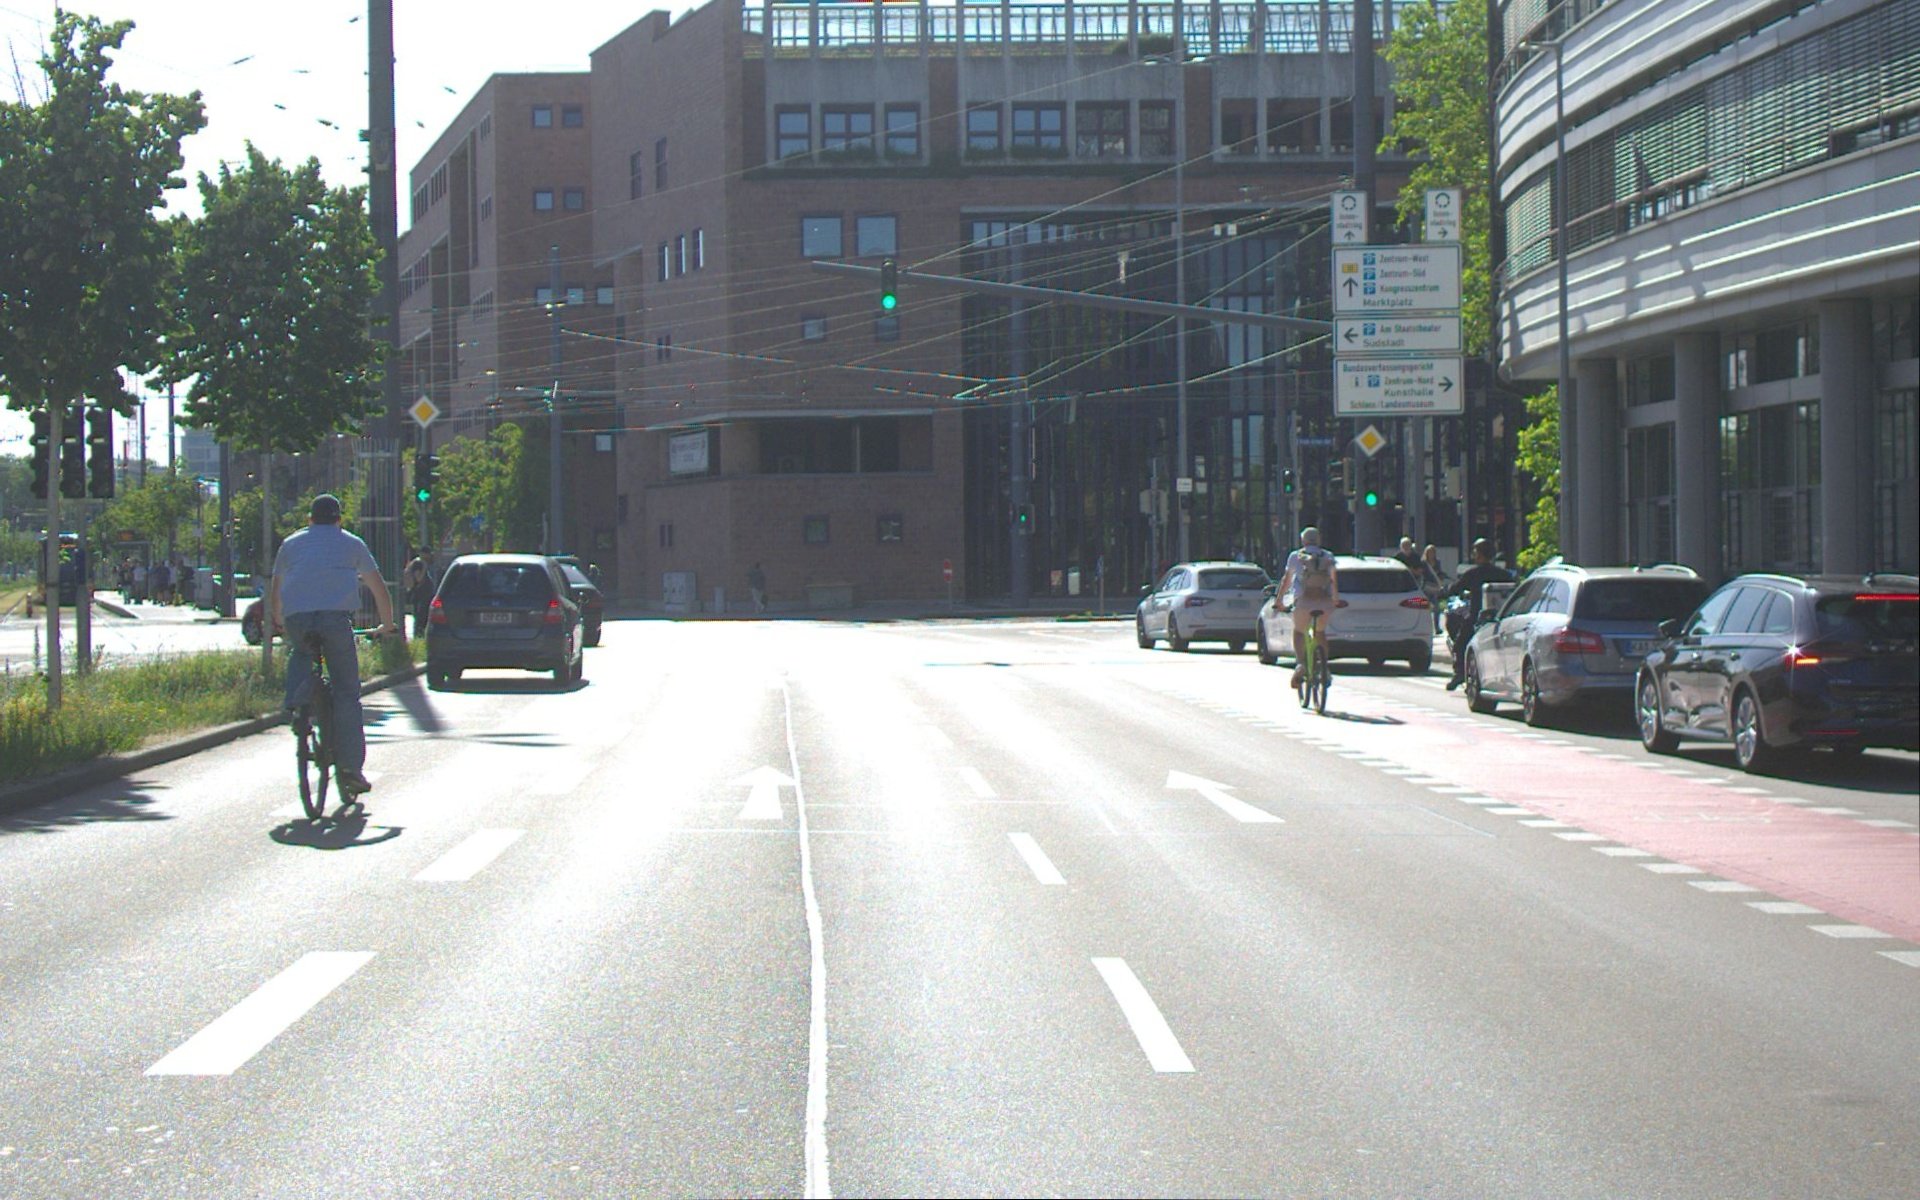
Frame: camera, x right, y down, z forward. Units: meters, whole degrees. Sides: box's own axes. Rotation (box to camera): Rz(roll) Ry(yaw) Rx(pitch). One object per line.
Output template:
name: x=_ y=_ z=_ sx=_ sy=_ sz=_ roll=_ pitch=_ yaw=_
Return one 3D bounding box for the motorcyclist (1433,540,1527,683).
motorcyclist: x=5.765 y=0.127 z=38.158 sx=0.829 sy=1.556 sz=0.942 roll=0 pitch=0 yaw=-4

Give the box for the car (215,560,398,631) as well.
car: x=-13.667 y=-0.094 z=71.875 sx=3.580 sy=1.444 sz=1.656 roll=0 pitch=1 yaw=33

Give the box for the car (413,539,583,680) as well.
car: x=-5.401 y=0.089 z=40.542 sx=1.726 sy=1.558 sz=3.678 roll=-1 pitch=1 yaw=-4

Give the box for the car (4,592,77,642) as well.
car: x=-33.068 y=0.590 z=123.604 sx=2.261 sy=1.721 sz=3.945 roll=-1 pitch=1 yaw=-19

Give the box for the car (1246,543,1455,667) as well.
car: x=5.299 y=0.028 z=47.154 sx=1.905 sy=1.578 sz=4.139 roll=1 pitch=1 yaw=-7

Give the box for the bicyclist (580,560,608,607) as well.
bicyclist: x=-10.502 y=-0.472 z=98.666 sx=0.592 sy=1.331 sz=0.933 roll=-1 pitch=0 yaw=-18

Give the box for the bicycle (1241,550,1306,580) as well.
bicycle: x=8.776 y=-0.968 z=96.177 sx=1.668 sy=0.803 sz=0.673 roll=-1 pitch=0 yaw=-14

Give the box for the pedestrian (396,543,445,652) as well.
pedestrian: x=-8.760 y=-0.039 z=55.797 sx=0.669 sy=1.747 sz=0.769 roll=-1 pitch=1 yaw=-16

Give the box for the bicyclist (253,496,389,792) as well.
bicyclist: x=-3.698 y=0.243 z=19.941 sx=0.617 sy=1.664 sz=1.020 roll=1 pitch=1 yaw=-3

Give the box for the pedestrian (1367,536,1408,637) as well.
pedestrian: x=7.791 y=-0.251 z=62.682 sx=0.638 sy=1.792 sz=0.608 roll=-2 pitch=2 yaw=11

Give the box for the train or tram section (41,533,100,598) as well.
train or tram section: x=-43.262 y=-1.682 z=167.421 sx=2.326 sy=2.993 sz=13.164 roll=-1 pitch=1 yaw=-13

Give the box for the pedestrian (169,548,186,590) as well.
pedestrian: x=-30.773 y=-1.212 z=135.209 sx=0.538 sy=1.649 sz=0.707 roll=-1 pitch=0 yaw=-18

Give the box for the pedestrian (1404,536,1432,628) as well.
pedestrian: x=8.345 y=-0.331 z=62.609 sx=0.427 sy=1.640 sz=0.562 roll=-2 pitch=2 yaw=10

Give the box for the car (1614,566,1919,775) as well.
car: x=6.409 y=0.463 z=25.988 sx=1.721 sy=1.417 sz=4.638 roll=0 pitch=1 yaw=-4

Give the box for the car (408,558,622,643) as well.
car: x=-8.055 y=0.004 z=61.962 sx=1.727 sy=1.444 sz=4.520 roll=-1 pitch=1 yaw=-38

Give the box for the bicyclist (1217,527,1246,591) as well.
bicyclist: x=8.025 y=-1.219 z=101.546 sx=0.605 sy=1.877 sz=0.651 roll=-1 pitch=0 yaw=-21

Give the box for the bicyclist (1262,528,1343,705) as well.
bicyclist: x=3.463 y=0.152 z=34.836 sx=0.649 sy=1.746 sz=1.045 roll=-1 pitch=1 yaw=-3

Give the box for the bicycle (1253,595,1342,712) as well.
bicycle: x=3.446 y=0.531 z=35.184 sx=0.649 sy=1.106 sz=1.758 roll=-1 pitch=2 yaw=-3

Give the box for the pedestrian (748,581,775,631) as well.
pedestrian: x=-6.364 y=0.187 z=110.095 sx=0.617 sy=1.558 sz=0.987 roll=-1 pitch=0 yaw=-18

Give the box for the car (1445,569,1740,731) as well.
car: x=5.922 y=0.422 z=32.740 sx=1.721 sy=1.391 sz=4.788 roll=0 pitch=1 yaw=-3

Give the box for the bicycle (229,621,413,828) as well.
bicycle: x=-3.708 y=0.689 z=20.148 sx=0.686 sy=1.066 sz=2.697 roll=1 pitch=1 yaw=-3

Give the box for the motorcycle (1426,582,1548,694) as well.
motorcycle: x=5.810 y=0.404 z=38.025 sx=0.829 sy=1.197 sz=2.390 roll=0 pitch=0 yaw=-4

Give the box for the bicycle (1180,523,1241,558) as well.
bicycle: x=7.390 y=-1.745 z=101.339 sx=1.668 sy=0.991 sz=0.673 roll=-1 pitch=0 yaw=-23

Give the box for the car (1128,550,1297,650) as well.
car: x=4.143 y=-0.032 z=57.121 sx=1.905 sy=1.536 sz=4.139 roll=1 pitch=1 yaw=-9
